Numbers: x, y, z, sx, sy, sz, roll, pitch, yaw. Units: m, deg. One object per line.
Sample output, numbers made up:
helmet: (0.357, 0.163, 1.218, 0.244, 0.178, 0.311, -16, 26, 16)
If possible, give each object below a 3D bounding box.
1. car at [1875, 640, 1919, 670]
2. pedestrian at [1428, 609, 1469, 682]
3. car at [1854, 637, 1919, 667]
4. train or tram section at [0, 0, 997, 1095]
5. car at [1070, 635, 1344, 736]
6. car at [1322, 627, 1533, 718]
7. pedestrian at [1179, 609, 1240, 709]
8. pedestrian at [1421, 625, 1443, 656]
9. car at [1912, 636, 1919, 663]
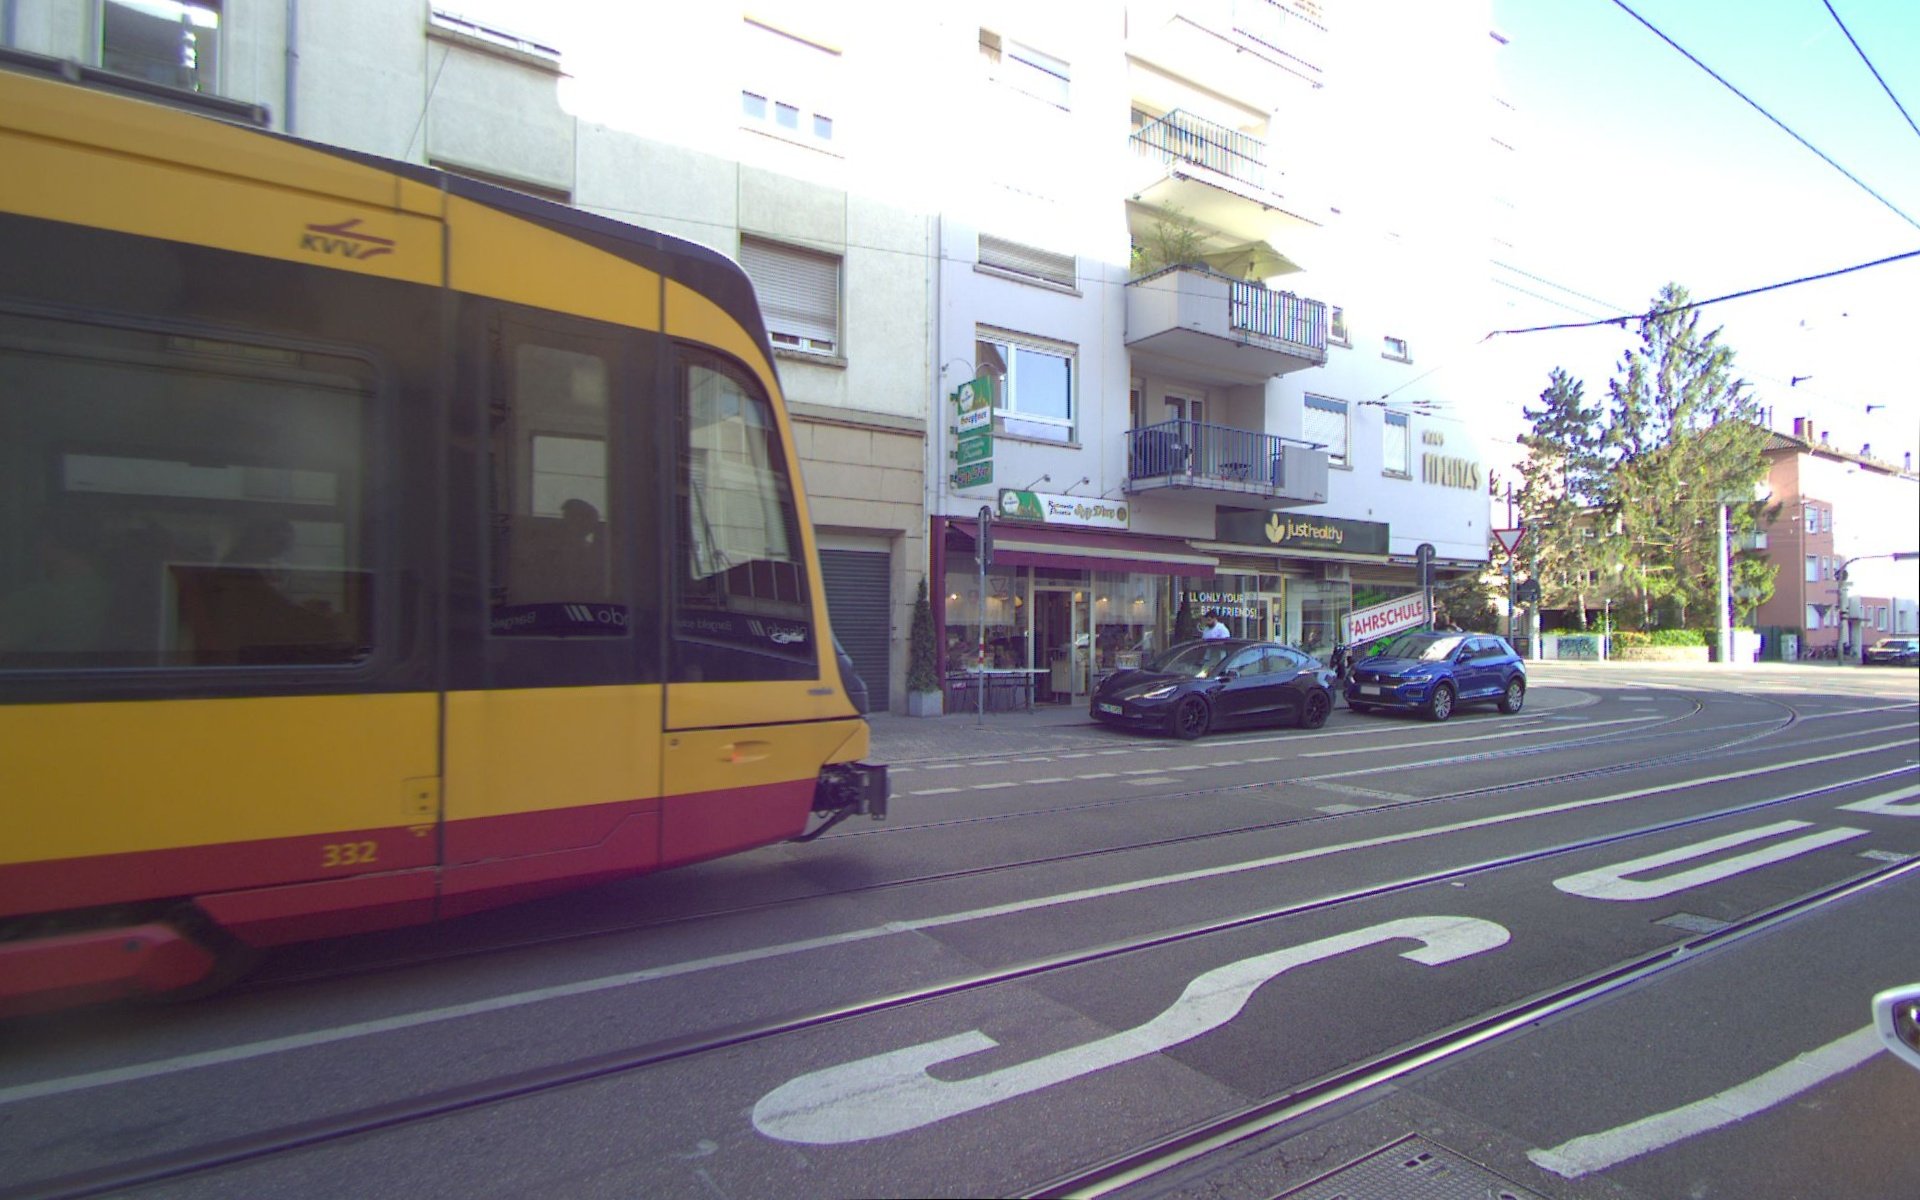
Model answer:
car: (53.271, 3.061, 56.273, 4.250, 1.518, 1.806, 2, 0, -30)
pedestrian: (13.851, 1.277, 28.498, 0.688, 2.040, 0.764, 2, 0, -35)
car: (49.611, 2.762, 53.595, 3.949, 1.440, 1.784, 2, 0, -31)
train or tram section: (-6.478, -0.383, 2.510, 14.112, 3.680, 2.728, 2, 0, -33)
car: (4.014, 1.273, 16.082, 4.382, 1.405, 1.810, 1, -2, -34)
car: (8.916, 1.307, 19.092, 4.030, 1.552, 1.858, 1, -2, -34)
pedestrian: (4.670, 1.089, 18.809, 0.802, 1.827, 0.689, 2, 0, -30)
pedestrian: (28.467, 2.445, 60.588, 0.797, 1.815, 0.897, 2, 0, -27)
car: (58.190, 2.957, 59.357, 4.103, 1.531, 1.778, 2, 0, -31)
